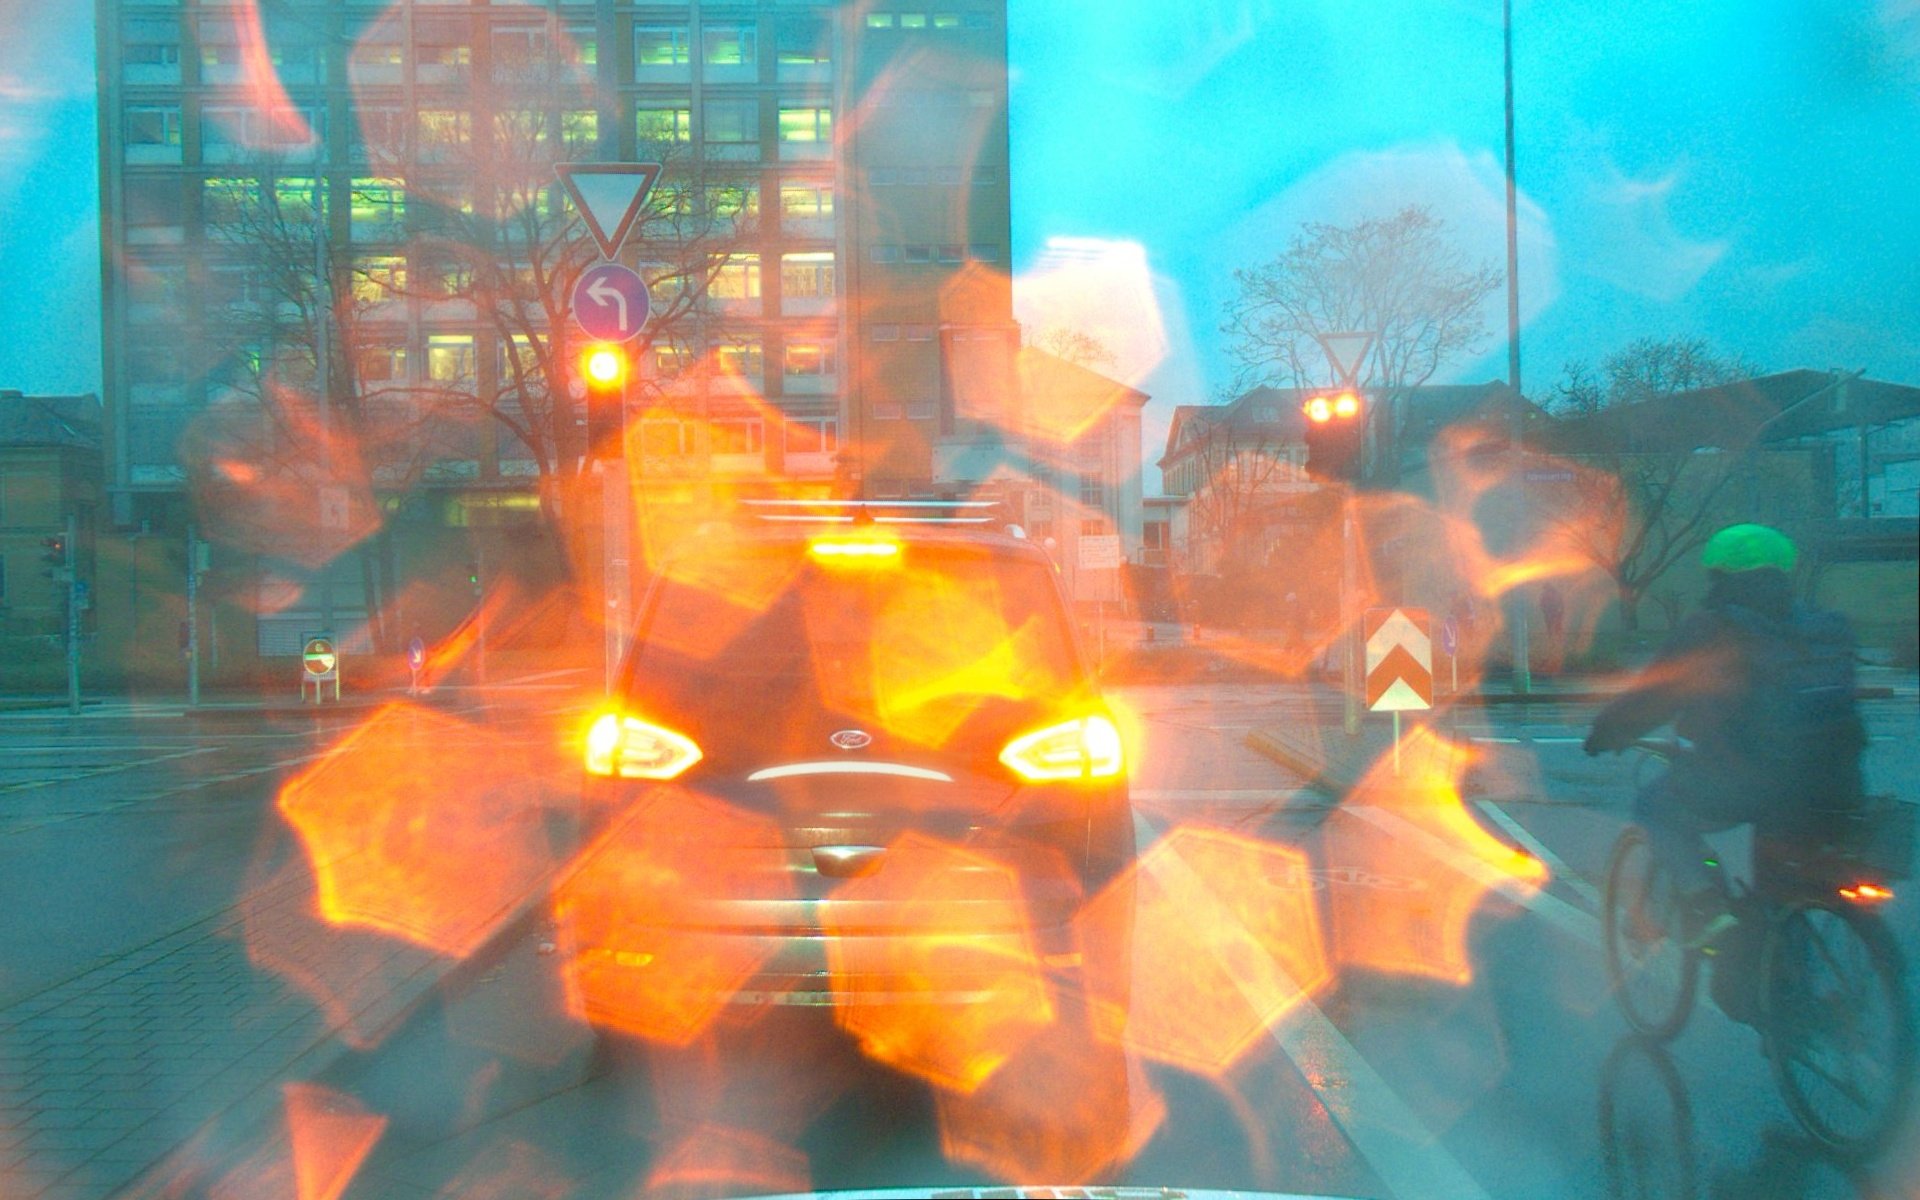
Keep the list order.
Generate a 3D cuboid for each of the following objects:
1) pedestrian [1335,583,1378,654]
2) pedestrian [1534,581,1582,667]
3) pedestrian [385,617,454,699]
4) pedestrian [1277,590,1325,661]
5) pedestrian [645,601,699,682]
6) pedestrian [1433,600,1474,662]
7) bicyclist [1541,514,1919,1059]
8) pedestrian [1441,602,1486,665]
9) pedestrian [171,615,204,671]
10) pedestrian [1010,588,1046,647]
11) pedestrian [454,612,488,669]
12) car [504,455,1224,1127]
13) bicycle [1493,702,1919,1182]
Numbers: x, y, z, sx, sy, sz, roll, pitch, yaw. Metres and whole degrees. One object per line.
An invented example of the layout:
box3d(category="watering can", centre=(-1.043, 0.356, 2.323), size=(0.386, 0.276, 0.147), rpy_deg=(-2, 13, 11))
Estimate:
box3d(category="pedestrian", centre=(10.501, 0.487, 43.813), size=(0.975, 1.831, 0.920), rpy_deg=(-2, 0, 8))
box3d(category="pedestrian", centre=(15.304, 0.609, 42.367), size=(0.864, 2.150, 0.896), rpy_deg=(-2, 0, 2))
box3d(category="pedestrian", centre=(-13.020, 1.394, 39.886), size=(0.981, 1.874, 1.138), rpy_deg=(-2, 3, 25))
box3d(category="pedestrian", centre=(8.730, 0.651, 42.383), size=(1.111, 1.750, 0.982), rpy_deg=(-2, 0, 10))
box3d(category="pedestrian", centre=(-7.354, 1.052, 42.243), size=(0.952, 2.013, 0.915), rpy_deg=(-2, 1, -43))
box3d(category="pedestrian", centre=(12.955, 0.806, 43.438), size=(0.874, 1.559, 0.886), rpy_deg=(-2, 0, 8))
box3d(category="bicyclist", centre=(2.384, 0.513, 5.089), size=(0.767, 1.478, 1.133), rpy_deg=(1, 0, -1))
box3d(category="pedestrian", centre=(12.893, 0.855, 42.391), size=(0.905, 1.559, 1.044), rpy_deg=(-2, 0, 9))
box3d(category="pedestrian", centre=(-24.255, 1.338, 51.916), size=(0.625, 1.718, 0.637), rpy_deg=(-2, 0, 16))
box3d(category="pedestrian", centre=(1.977, 0.505, 48.110), size=(0.752, 1.656, 0.713), rpy_deg=(-2, 0, -32))
box3d(category="pedestrian", centre=(-14.427, 1.190, 48.773), size=(0.743, 1.656, 0.558), rpy_deg=(-2, 0, 13))
box3d(category="car", centre=(-0.287, 0.536, 6.554), size=(1.953, 1.821, 3.999), rpy_deg=(1, 0, -1))
box3d(category="bicycle", centre=(2.378, 0.927, 5.162), size=(0.767, 1.094, 1.956), rpy_deg=(1, 0, -1))
